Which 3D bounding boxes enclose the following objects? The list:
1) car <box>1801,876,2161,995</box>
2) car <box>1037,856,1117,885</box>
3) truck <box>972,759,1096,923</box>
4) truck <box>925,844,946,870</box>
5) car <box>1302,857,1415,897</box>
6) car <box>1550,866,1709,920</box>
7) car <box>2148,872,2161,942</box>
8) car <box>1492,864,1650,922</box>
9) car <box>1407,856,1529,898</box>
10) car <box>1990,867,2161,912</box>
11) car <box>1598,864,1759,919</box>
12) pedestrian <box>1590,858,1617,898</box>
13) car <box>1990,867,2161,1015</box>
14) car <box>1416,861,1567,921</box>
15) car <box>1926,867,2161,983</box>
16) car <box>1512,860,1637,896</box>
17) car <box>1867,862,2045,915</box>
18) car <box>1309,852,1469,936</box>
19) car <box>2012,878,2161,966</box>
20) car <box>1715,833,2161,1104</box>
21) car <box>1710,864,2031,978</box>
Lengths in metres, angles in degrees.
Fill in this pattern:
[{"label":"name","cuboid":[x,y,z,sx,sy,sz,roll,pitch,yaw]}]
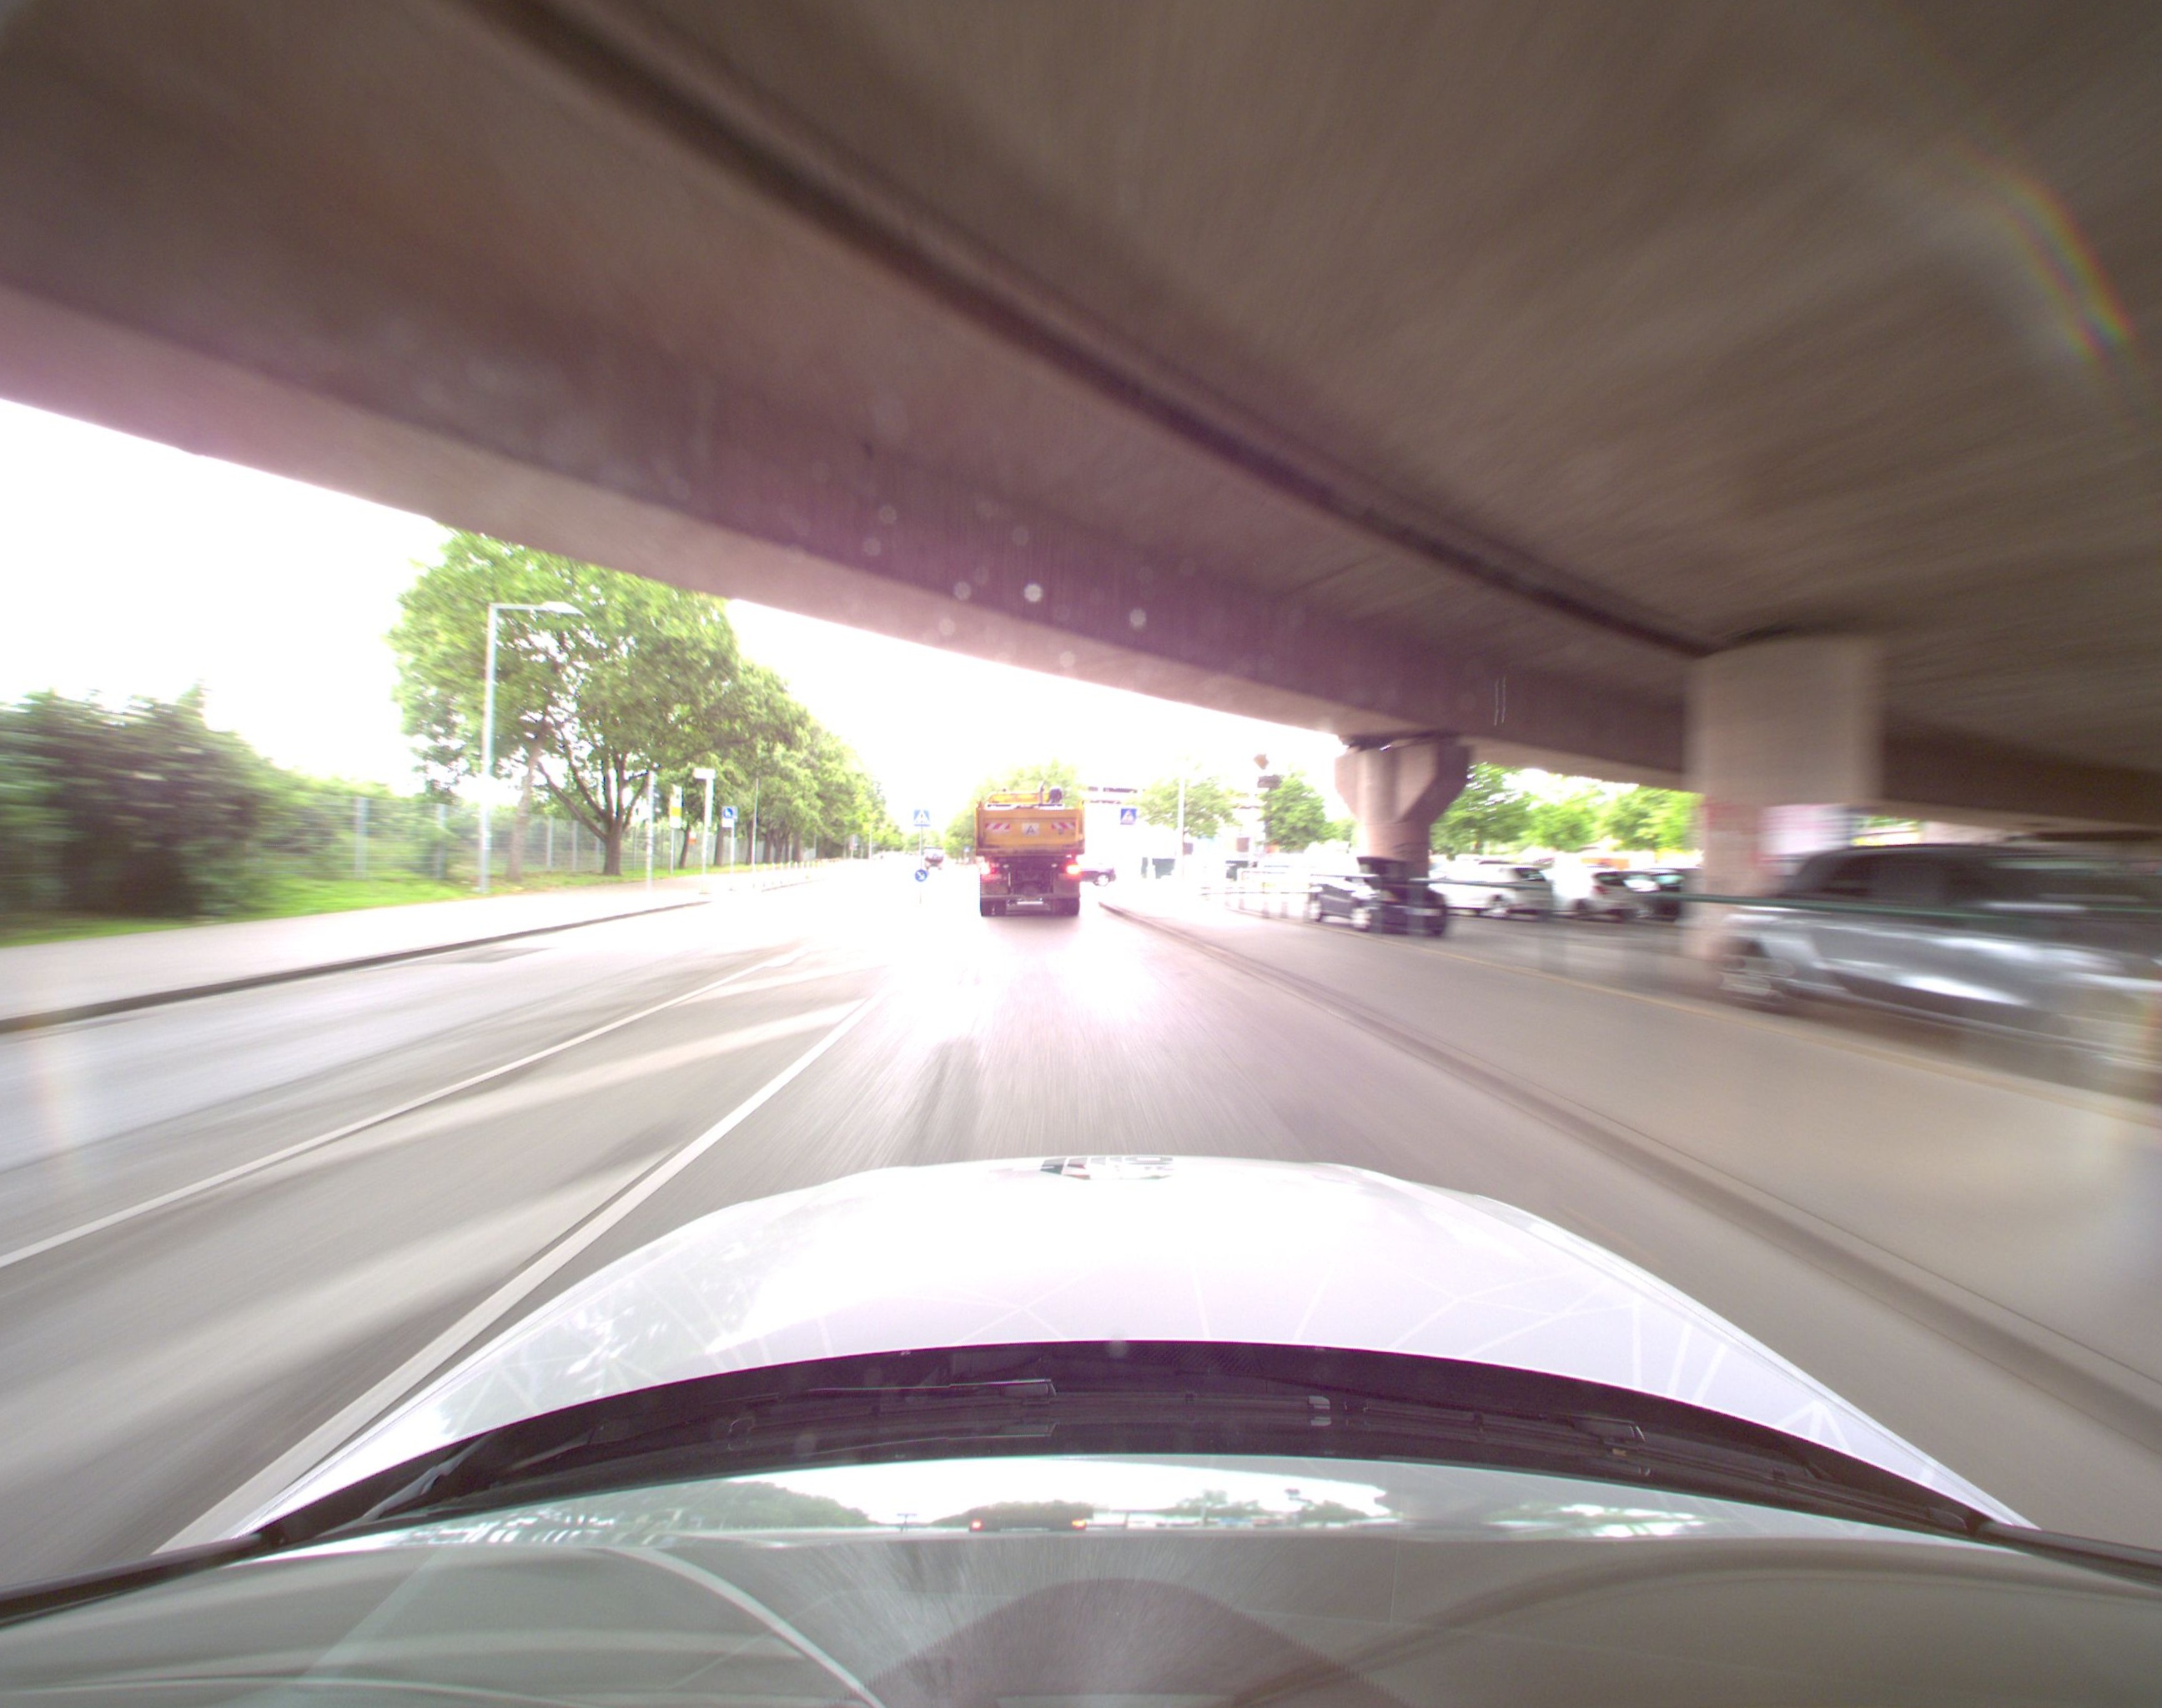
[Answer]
[{"label":"car","cuboid":[14.753,1.186,13.261,1.832,1.470,4.366,2,0,-9]},{"label":"car","cuboid":[-0.234,0.943,46.795,4.523,1.574,1.844,1,0,-2]},{"label":"truck","cuboid":[-1.552,-0.249,22.592,2.756,3.699,7.859,-1,-1,-7]},{"label":"truck","cuboid":[-20.788,0.527,116.143,2.675,3.558,7.889,-1,-1,-12]},{"label":"car","cuboid":[10.104,0.843,29.696,3.692,1.329,1.503,1,0,-14]},{"label":"car","cuboid":[16.754,1.138,25.096,1.698,1.443,3.836,1,0,-20]},{"label":"car","cuboid":[23.160,1.091,15.016,1.834,1.427,3.844,1,0,-13]},{"label":"car","cuboid":[14.420,1.100,24.202,1.698,1.509,3.836,1,0,-20]},{"label":"car","cuboid":[14.743,0.873,31.079,4.242,1.420,1.502,2,1,-16]},{"label":"car","cuboid":[36.596,1.264,29.958,1.758,1.478,3.836,1,0,-20]},{"label":"car","cuboid":[18.767,1.132,25.798,1.698,1.555,3.836,1,0,-20]},{"label":"pedestrian","cuboid":[25.583,1.167,39.887,0.824,1.907,0.733,1,-1,-17]},{"label":"car","cuboid":[11.867,0.910,8.090,1.774,1.506,3.869,2,-1,10]},{"label":"car","cuboid":[11.718,1.003,23.545,1.637,1.552,3.989,1,0,-16]},{"label":"car","cuboid":[16.974,1.098,13.437,1.834,1.698,3.844,1,0,-13]},{"label":"car","cuboid":[19.702,0.968,32.561,4.368,1.321,1.763,1,0,-16]},{"label":"car","cuboid":[30.163,1.137,28.219,1.758,1.638,3.836,1,0,-20]},{"label":"car","cuboid":[5.870,0.701,15.980,1.602,1.397,3.576,2,0,-3]},{"label":"car","cuboid":[19.157,1.197,13.951,1.834,1.427,3.844,1,0,-13]},{"label":"car","cuboid":[6.880,0.682,6.027,1.602,1.533,3.406,2,0,-3]},{"label":"car","cuboid":[12.272,0.960,12.944,1.527,1.500,3.359,3,-1,-13]}]
